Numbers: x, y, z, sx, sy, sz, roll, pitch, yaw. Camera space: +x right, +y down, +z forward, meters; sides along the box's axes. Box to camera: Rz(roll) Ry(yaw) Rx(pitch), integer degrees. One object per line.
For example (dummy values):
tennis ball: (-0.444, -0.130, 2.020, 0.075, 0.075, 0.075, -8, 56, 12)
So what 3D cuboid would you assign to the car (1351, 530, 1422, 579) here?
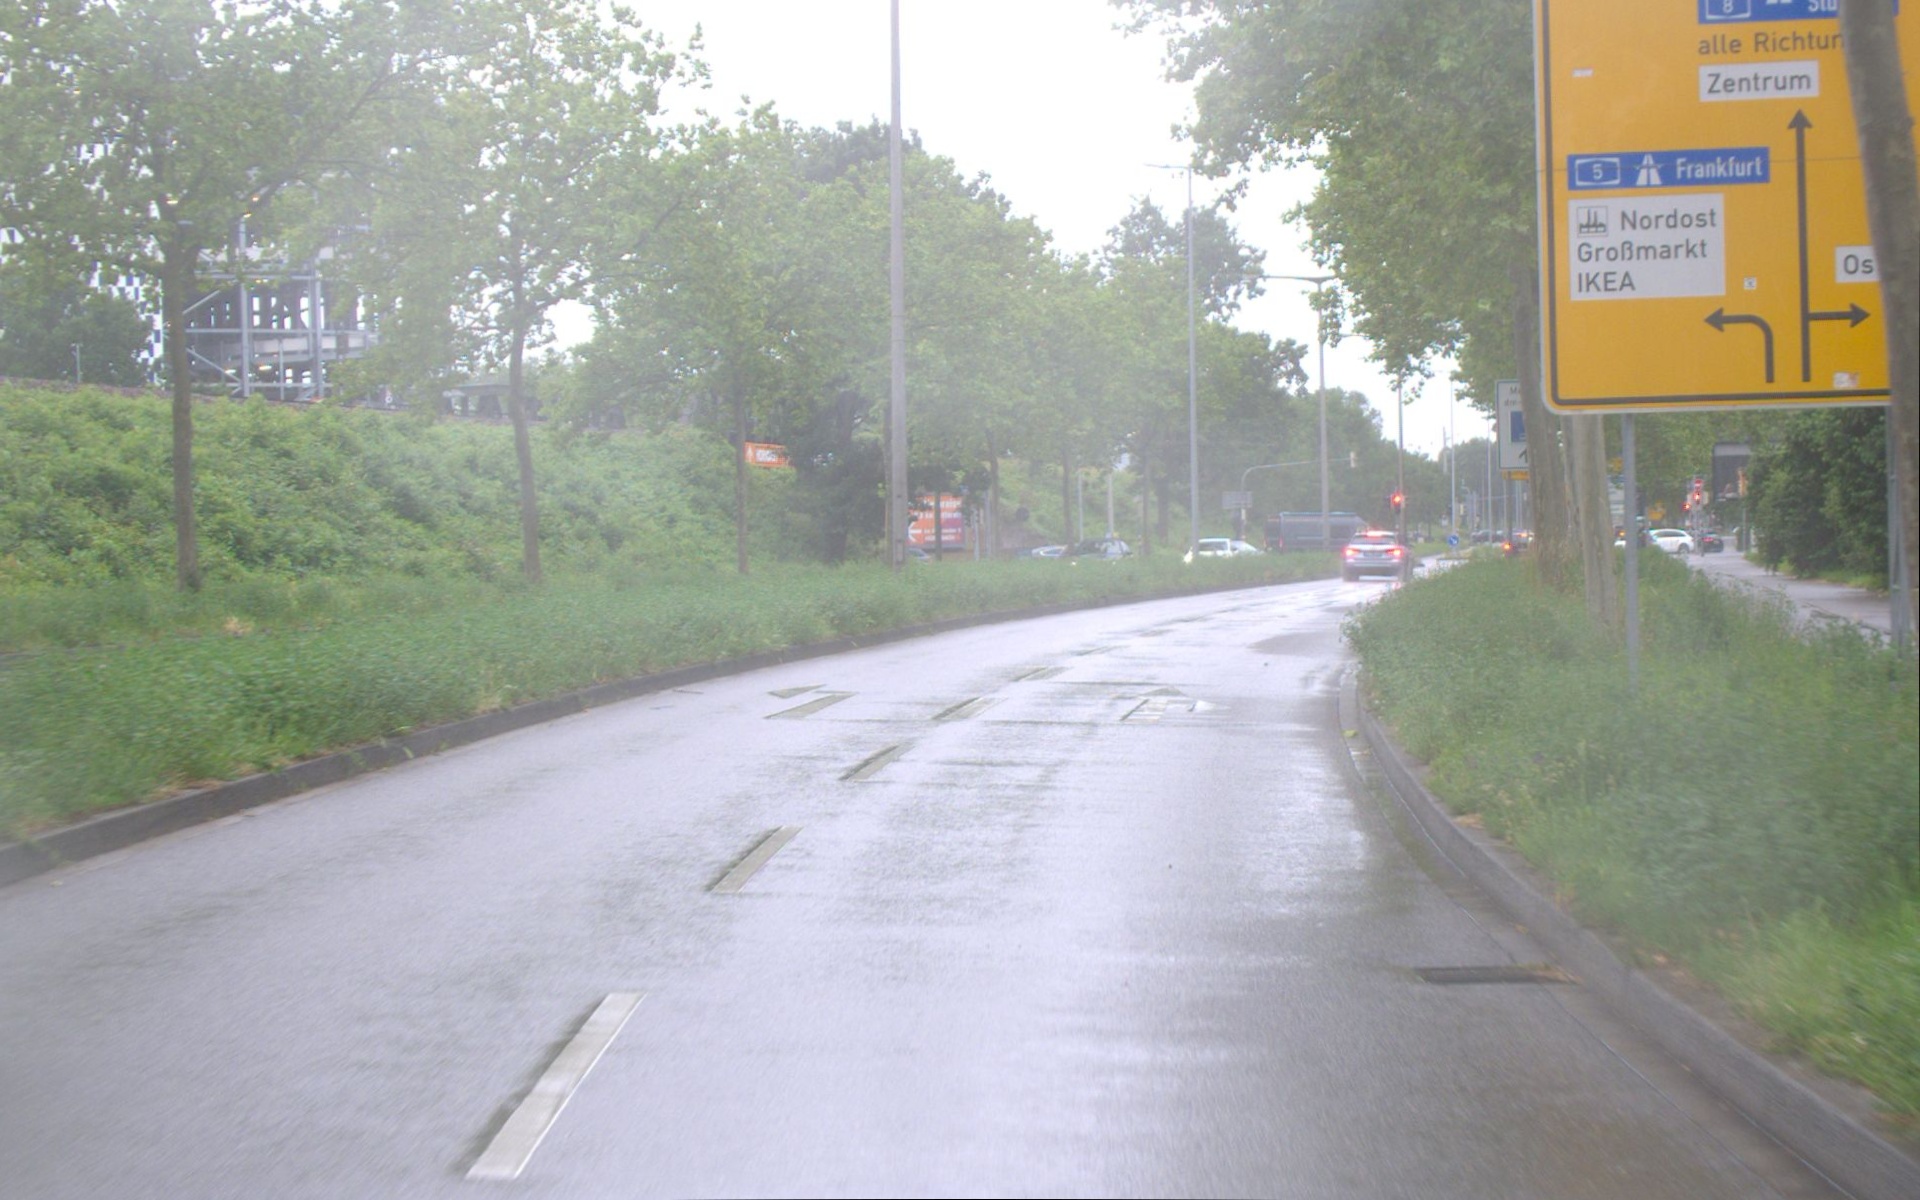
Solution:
car: (12.563, -1.333, 101.068, 1.691, 1.428, 4.572, 0, 1, 12)
